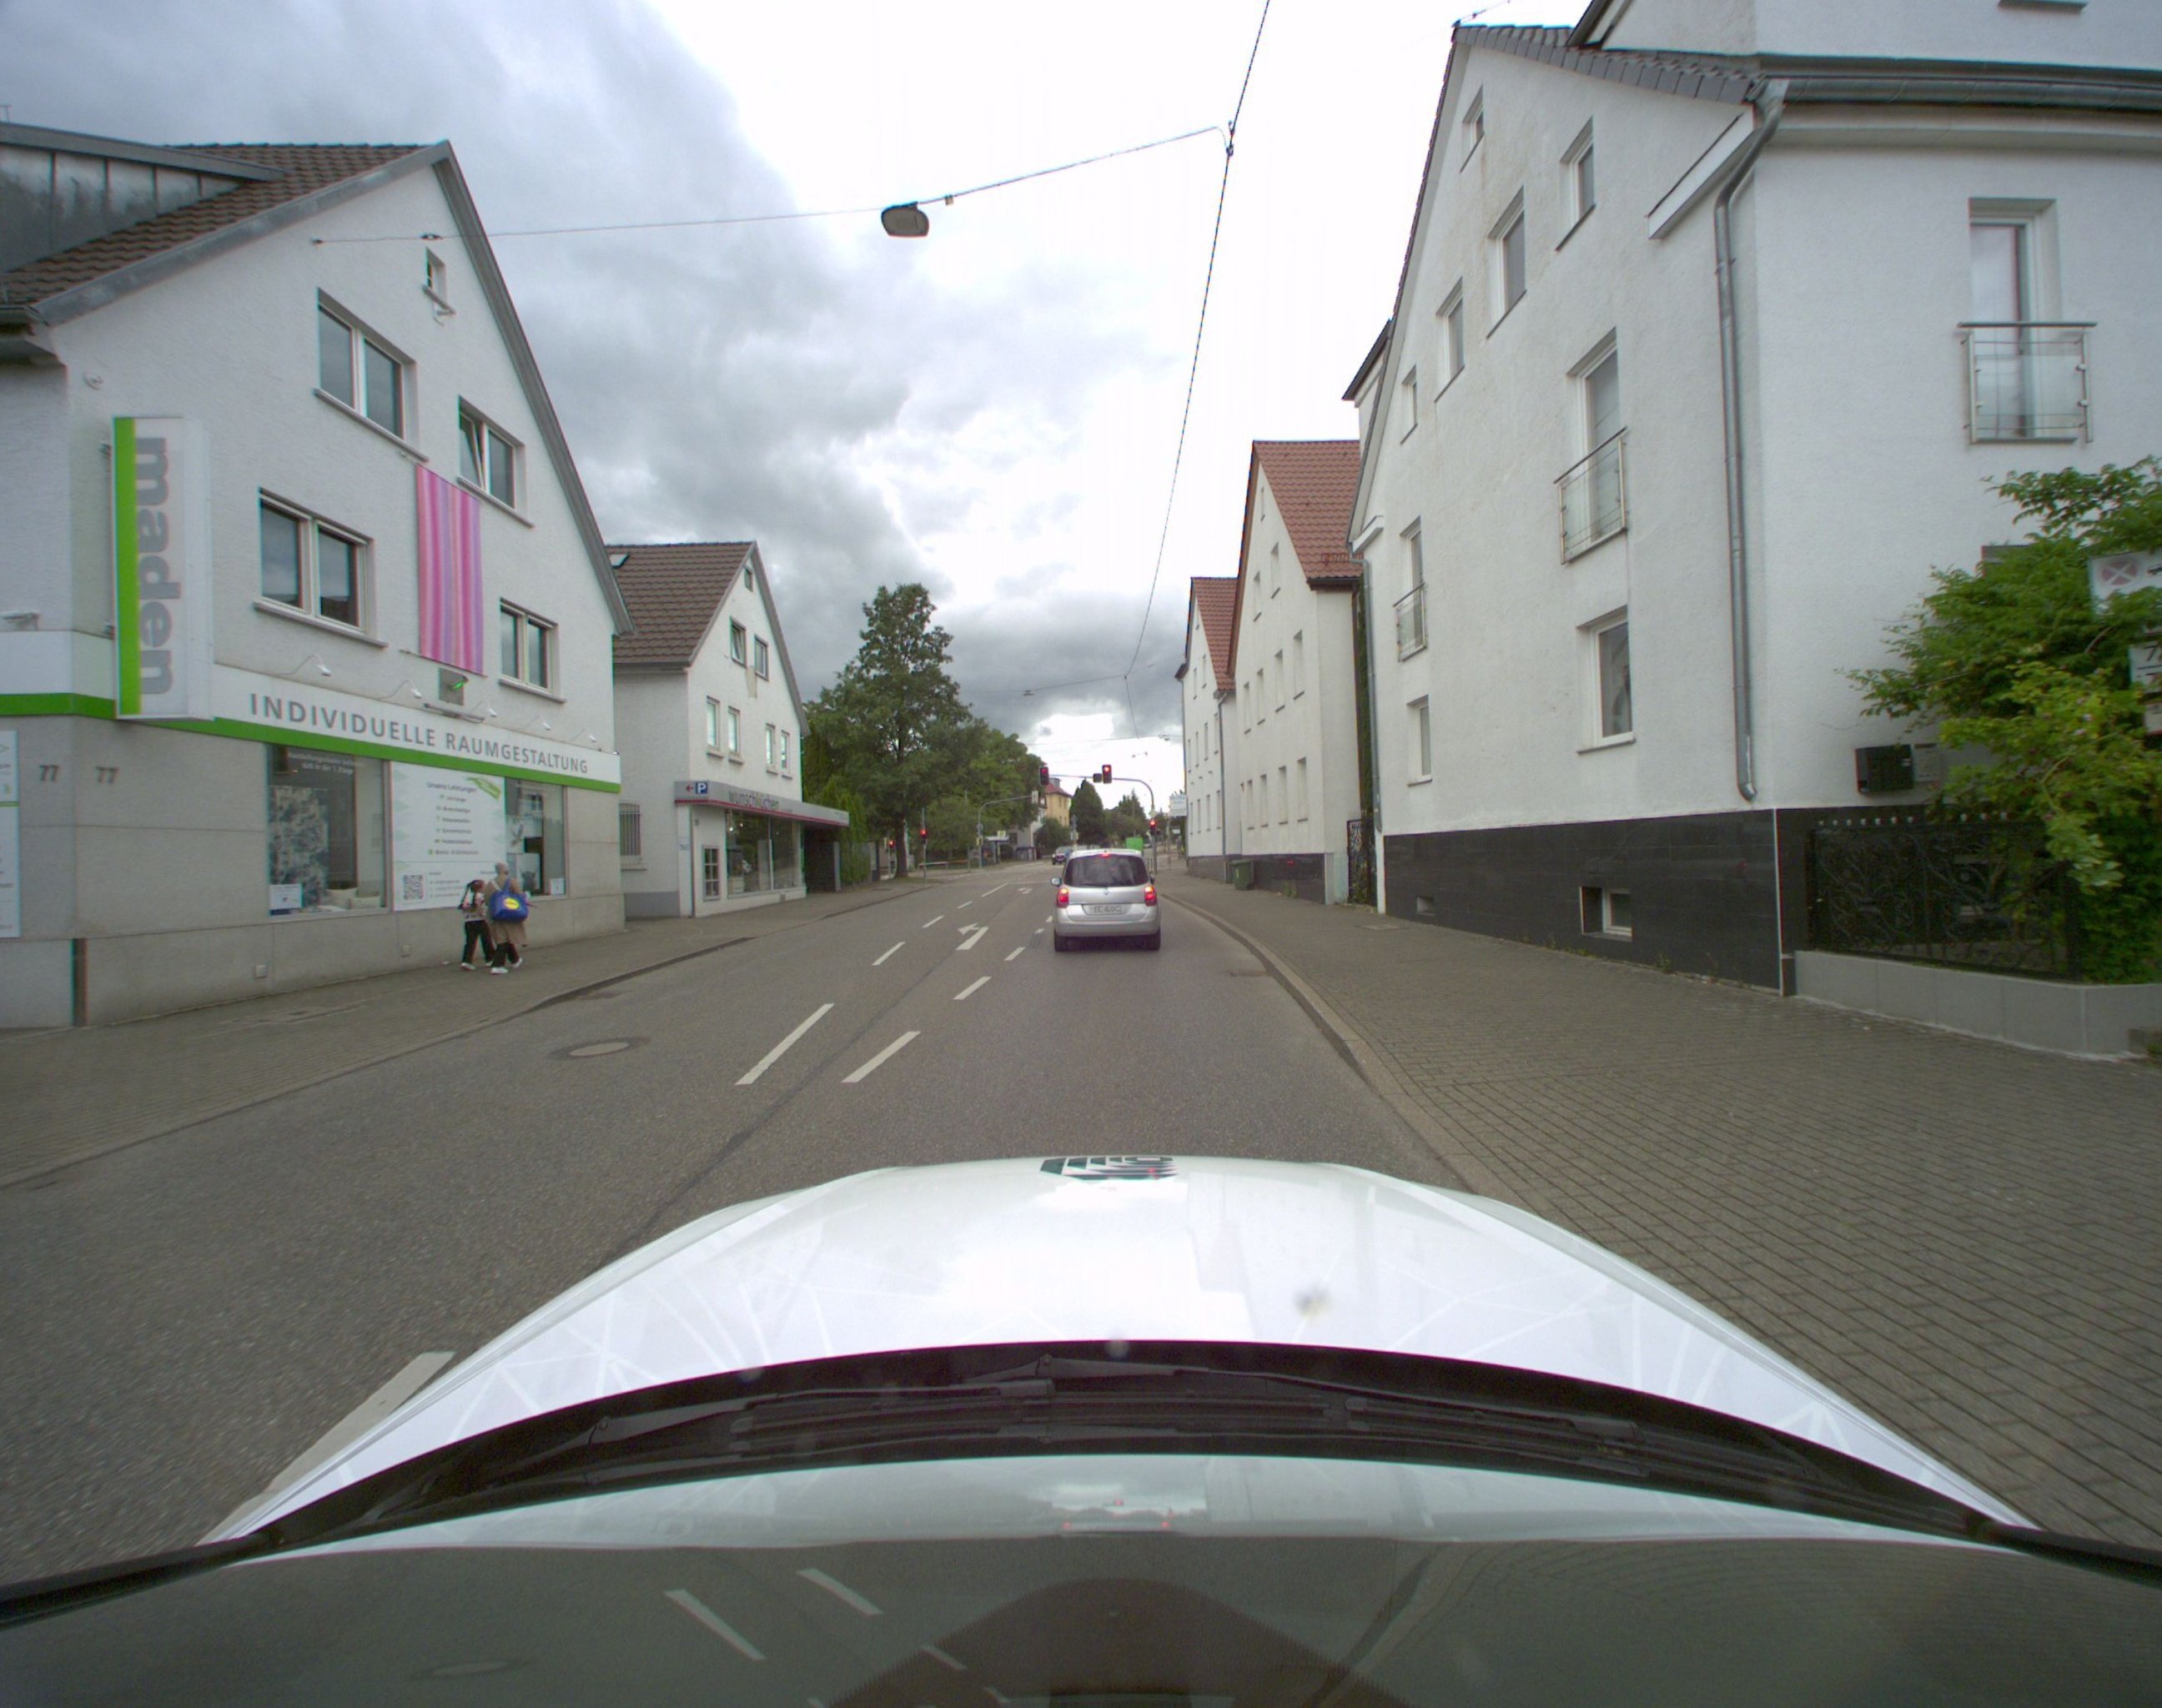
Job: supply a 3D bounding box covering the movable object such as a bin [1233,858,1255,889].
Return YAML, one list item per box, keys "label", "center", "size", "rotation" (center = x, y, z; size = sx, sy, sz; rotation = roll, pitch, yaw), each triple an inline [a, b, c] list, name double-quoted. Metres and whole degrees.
- label: "movable object such as a bin"
  center: [5.087, 0.603, 25.425]
  size: [0.538, 0.941, 0.487]
  rotation: [-4, 0, 0]

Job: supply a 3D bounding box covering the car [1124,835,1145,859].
- label: "car"
  center: [5.815, -0.764, 88.107]
  size: [2.049, 2.512, 5.603]
  rotation: [-1, 0, 5]

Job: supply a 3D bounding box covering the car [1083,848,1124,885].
- label: "car"
  center: [0.968, 0.530, 36.747]
  size: [1.749, 1.530, 3.797]
  rotation: [-1, 0, 0]

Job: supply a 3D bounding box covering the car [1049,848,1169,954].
- label: "car"
  center: [0.423, 0.695, 13.997]
  size: [1.749, 1.530, 4.000]
  rotation: [-1, 0, 0]

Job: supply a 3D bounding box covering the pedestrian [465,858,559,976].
- label: "pedestrian"
  center: [-8.182, 0.879, 11.745]
  size: [0.749, 1.617, 0.792]
  rotation: [1, 0, 0]

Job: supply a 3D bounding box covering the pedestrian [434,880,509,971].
- label: "pedestrian"
  center: [-8.904, 1.028, 11.910]
  size: [0.597, 1.279, 0.655]
  rotation: [0, 0, 0]

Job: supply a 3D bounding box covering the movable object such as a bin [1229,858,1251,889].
- label: "movable object such as a bin"
  center: [5.068, 0.603, 25.962]
  size: [0.538, 0.941, 0.487]
  rotation: [-4, 0, 0]

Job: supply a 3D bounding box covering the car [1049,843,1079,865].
- label: "car"
  center: [-1.566, -0.022, 77.326]
  size: [1.914, 1.773, 4.012]
  rotation: [-6, 0, 11]

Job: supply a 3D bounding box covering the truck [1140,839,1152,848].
- label: "truck"
  center: [15.195, -2.479, 189.638]
  size: [2.088, 2.013, 5.764]
  rotation: [-1, 0, 10]
